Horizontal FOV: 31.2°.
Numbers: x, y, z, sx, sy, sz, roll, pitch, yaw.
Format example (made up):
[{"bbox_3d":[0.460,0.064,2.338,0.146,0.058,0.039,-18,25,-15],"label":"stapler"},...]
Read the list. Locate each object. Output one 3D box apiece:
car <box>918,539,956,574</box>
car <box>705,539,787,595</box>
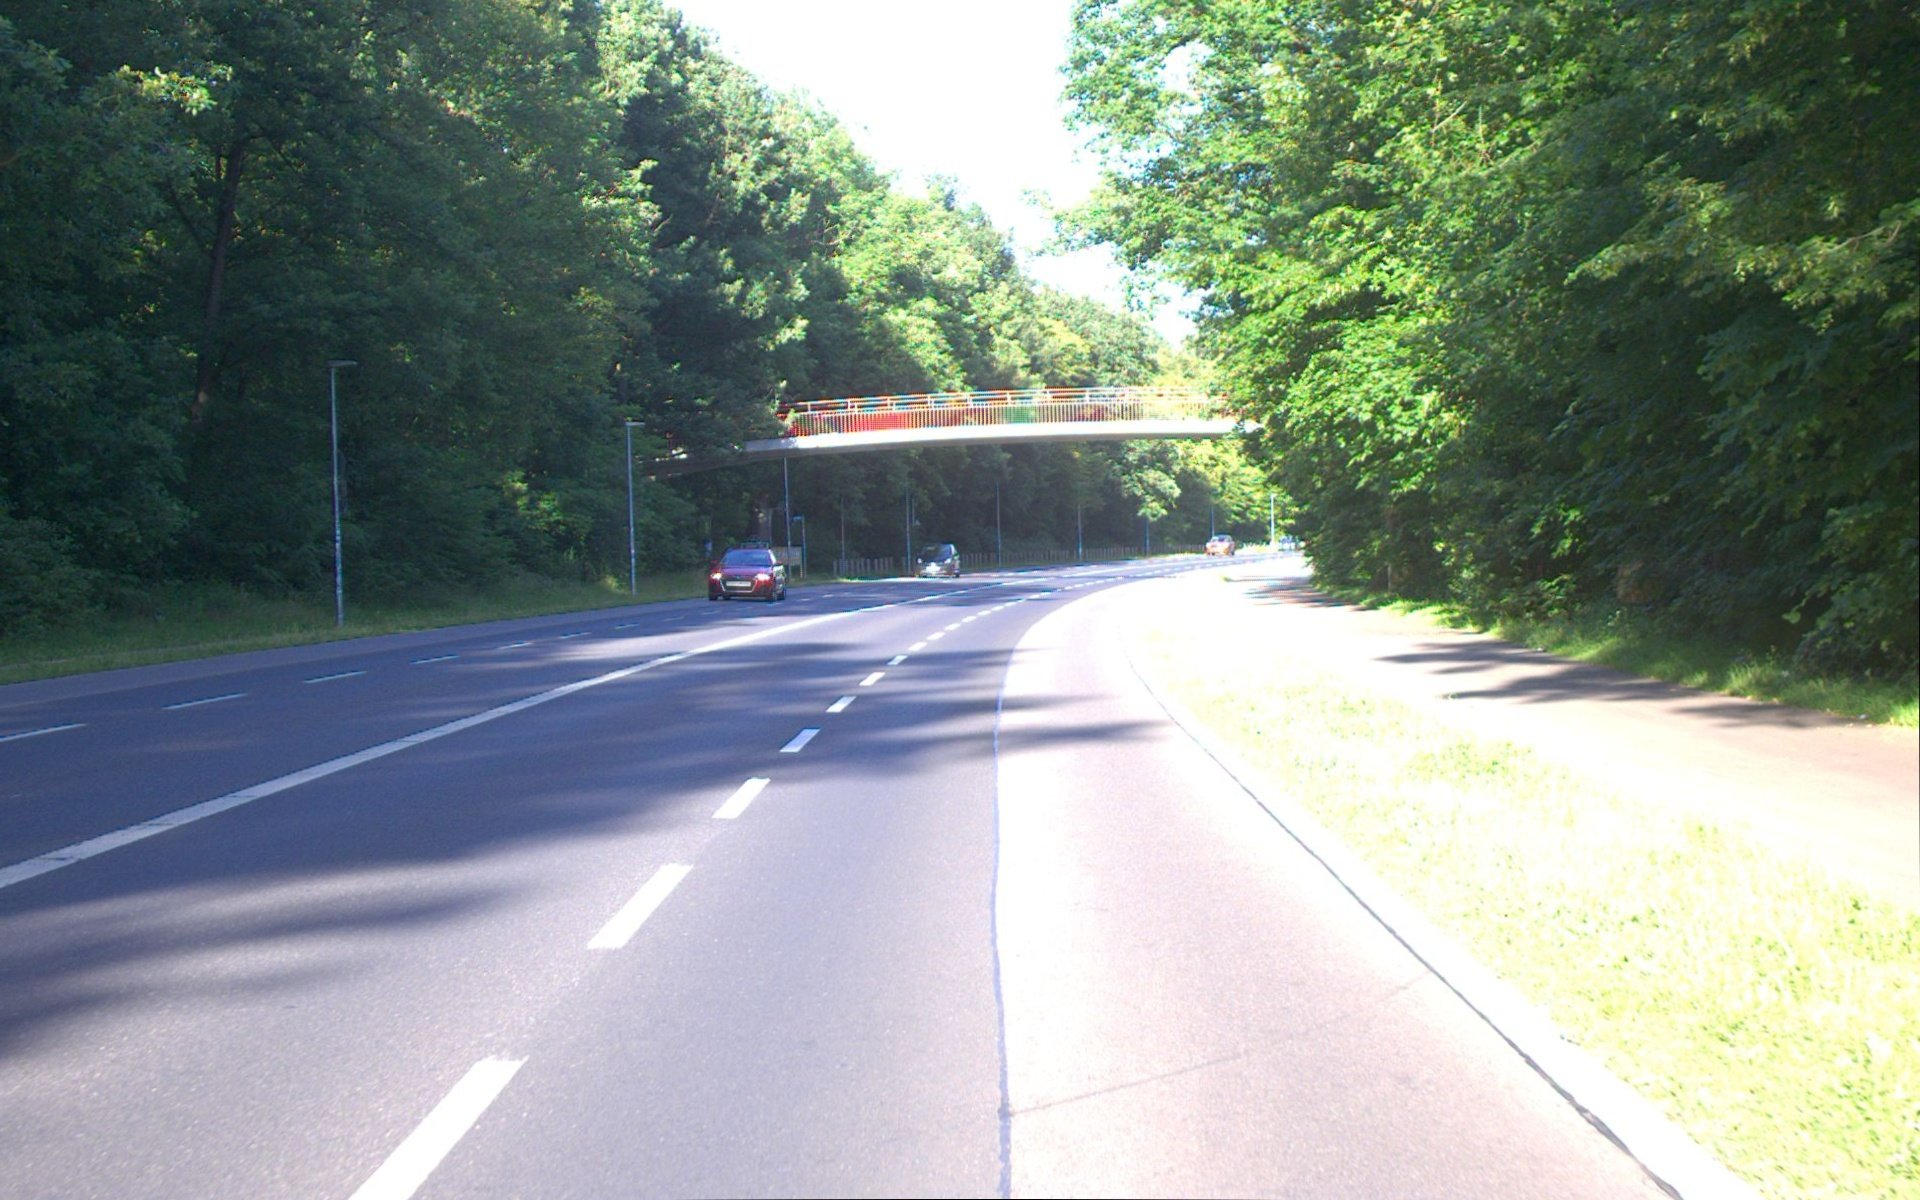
[{"bbox_3d":[-0.960,-1.842,145.555,1.495,1.439,3.500,-1,1,2],"label":"car"},{"bbox_3d":[-5.721,-0.902,92.312,1.710,1.418,4.130,-1,1,3],"label":"car"}]
